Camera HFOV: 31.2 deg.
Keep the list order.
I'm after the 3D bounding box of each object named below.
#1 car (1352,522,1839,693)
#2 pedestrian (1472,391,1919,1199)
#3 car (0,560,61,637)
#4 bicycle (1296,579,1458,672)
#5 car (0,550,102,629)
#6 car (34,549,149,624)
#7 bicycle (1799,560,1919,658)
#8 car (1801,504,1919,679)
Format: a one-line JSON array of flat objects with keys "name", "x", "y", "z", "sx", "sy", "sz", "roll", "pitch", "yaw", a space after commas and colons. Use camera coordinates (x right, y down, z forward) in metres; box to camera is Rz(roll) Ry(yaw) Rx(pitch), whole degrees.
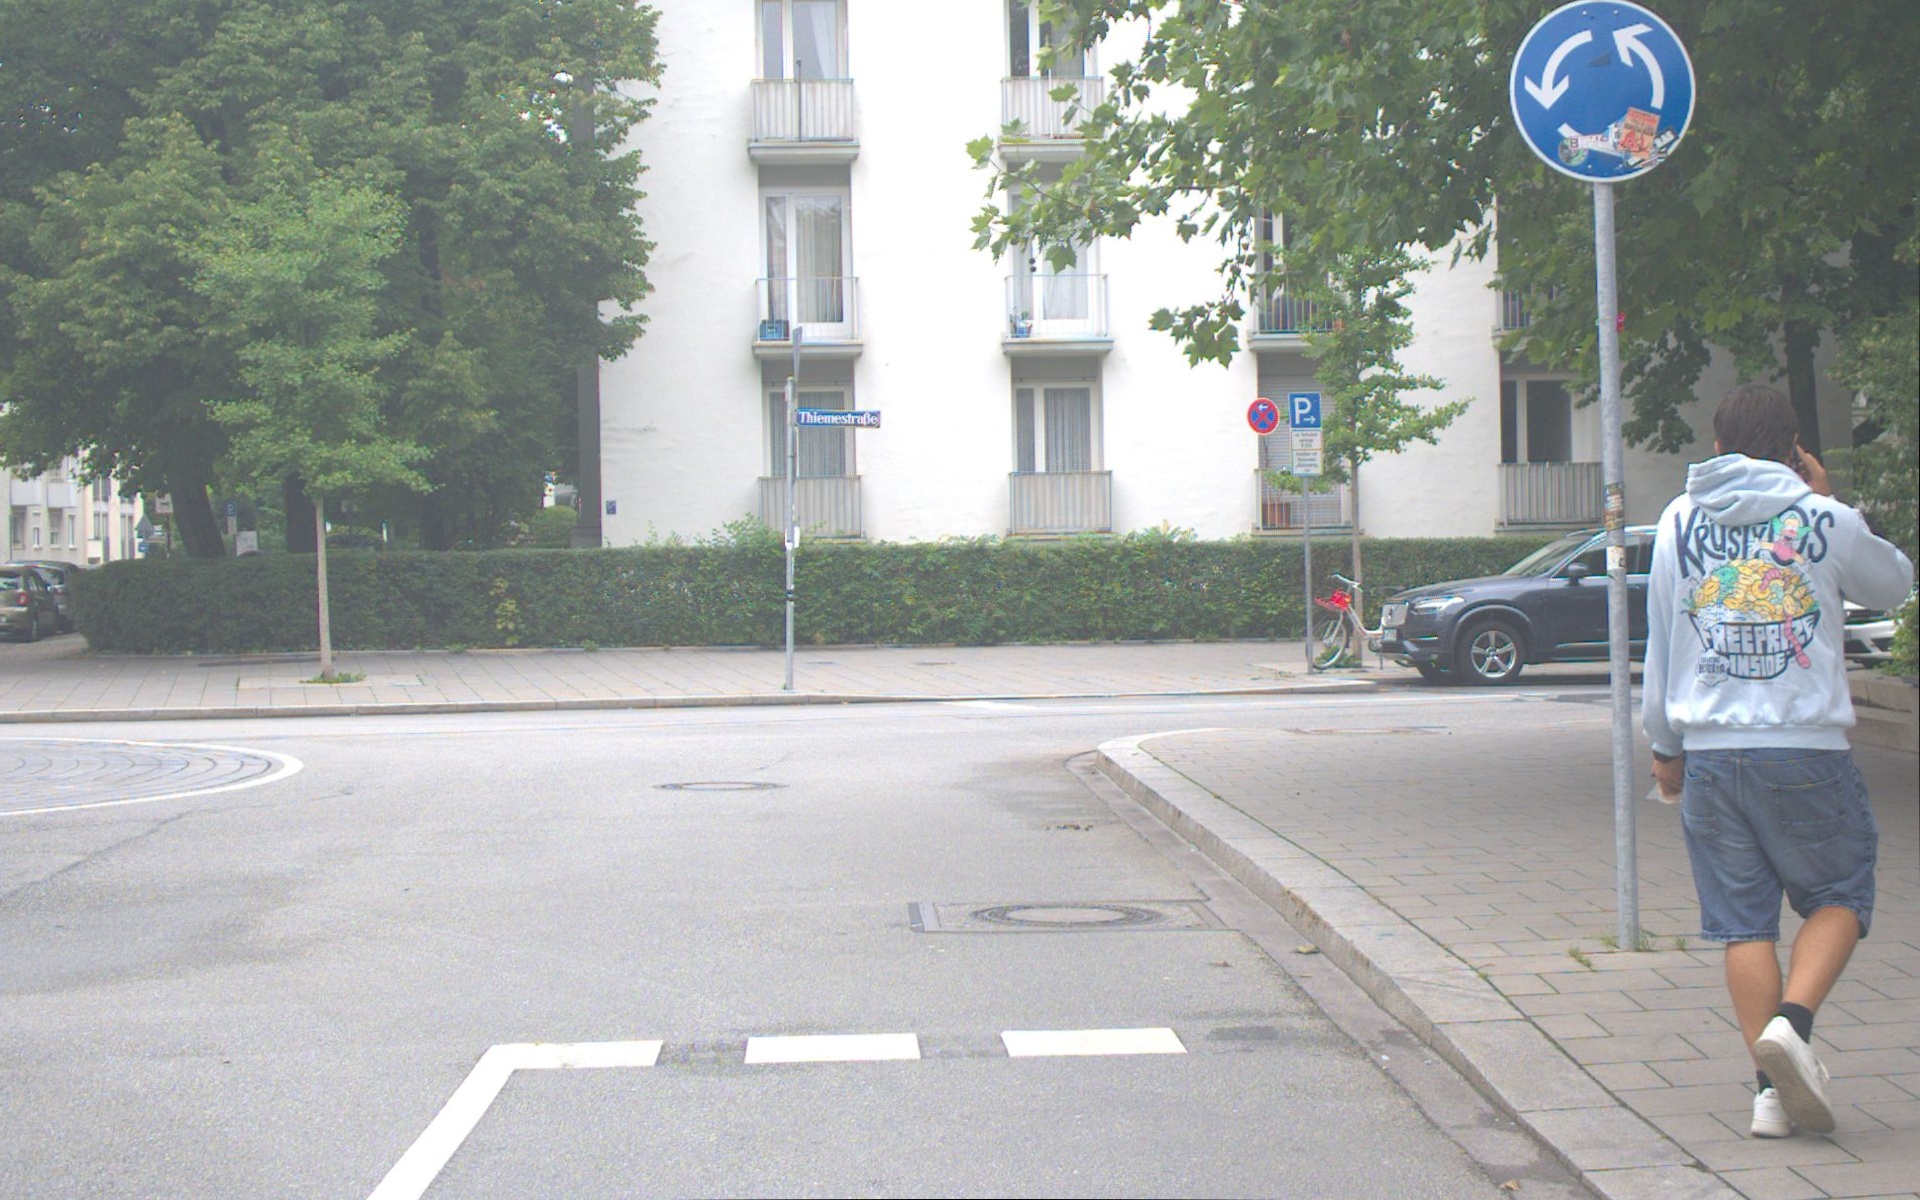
[{"name": "car", "x": 7.009, "y": 0.071, "z": 38.150, "sx": 4.895, "sy": 1.786, "sz": 2.000, "roll": -1, "pitch": 0, "yaw": -9}, {"name": "pedestrian", "x": 1.892, "y": 0.421, "z": 8.082, "sx": 1.049, "sy": 1.765, "sz": 0.876, "roll": -2, "pitch": 1, "yaw": -43}, {"name": "car", "x": -19.710, "y": -0.041, "z": 70.758, "sx": 1.835, "sy": 1.500, "sz": 4.116, "roll": -2, "pitch": 1, "yaw": -8}, {"name": "bicycle", "x": 4.897, "y": 0.290, "z": 40.353, "sx": 1.824, "sy": 1.045, "sz": 0.492, "roll": -1, "pitch": 1, "yaw": -15}, {"name": "car", "x": -20.125, "y": -0.240, "z": 75.352, "sx": 1.835, "sy": 1.629, "sz": 4.116, "roll": -2, "pitch": 1, "yaw": -4}, {"name": "car", "x": -20.442, "y": -0.341, "z": 81.012, "sx": 1.835, "sy": 1.629, "sz": 3.820, "roll": -2, "pitch": 1, "yaw": -2}, {"name": "bicycle", "x": 10.904, "y": 0.094, "z": 41.075, "sx": 0.536, "sy": 1.145, "sz": 1.830, "roll": -1, "pitch": 1, "yaw": -32}, {"name": "car", "x": 12.231, "y": -0.118, "z": 39.078, "sx": 4.831, "sy": 1.912, "sz": 1.836, "roll": -1, "pitch": 0, "yaw": -10}]
